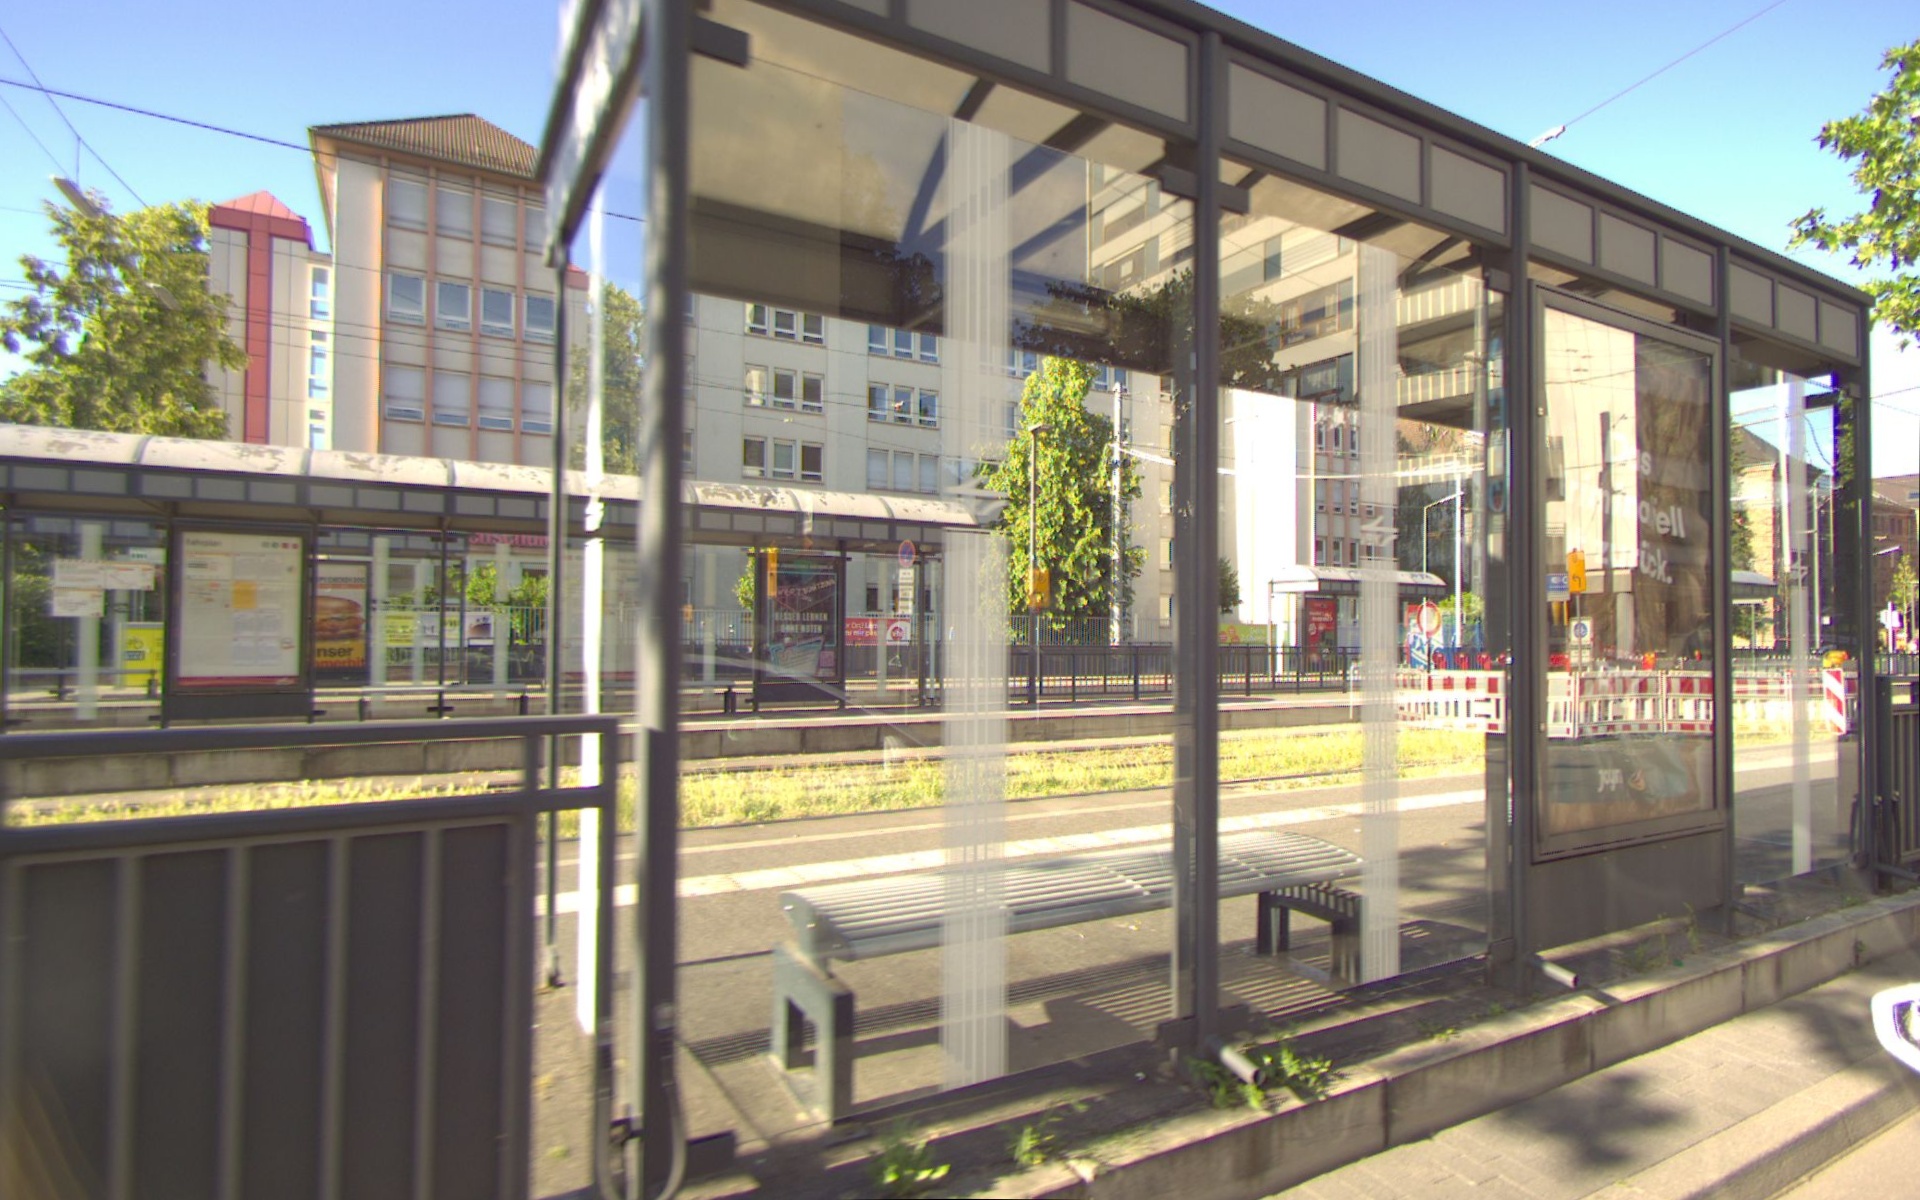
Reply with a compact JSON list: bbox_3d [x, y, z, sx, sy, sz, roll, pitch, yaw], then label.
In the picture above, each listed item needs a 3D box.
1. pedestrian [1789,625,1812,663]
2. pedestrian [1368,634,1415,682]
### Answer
[{"bbox_3d":[44.535,2.325,53.218,0.850,2.040,0.659,1,-2,-30],"label":"pedestrian"},{"bbox_3d":[12.842,1.704,29.900,0.869,1.394,0.970,1,-1,-30],"label":"pedestrian"}]
